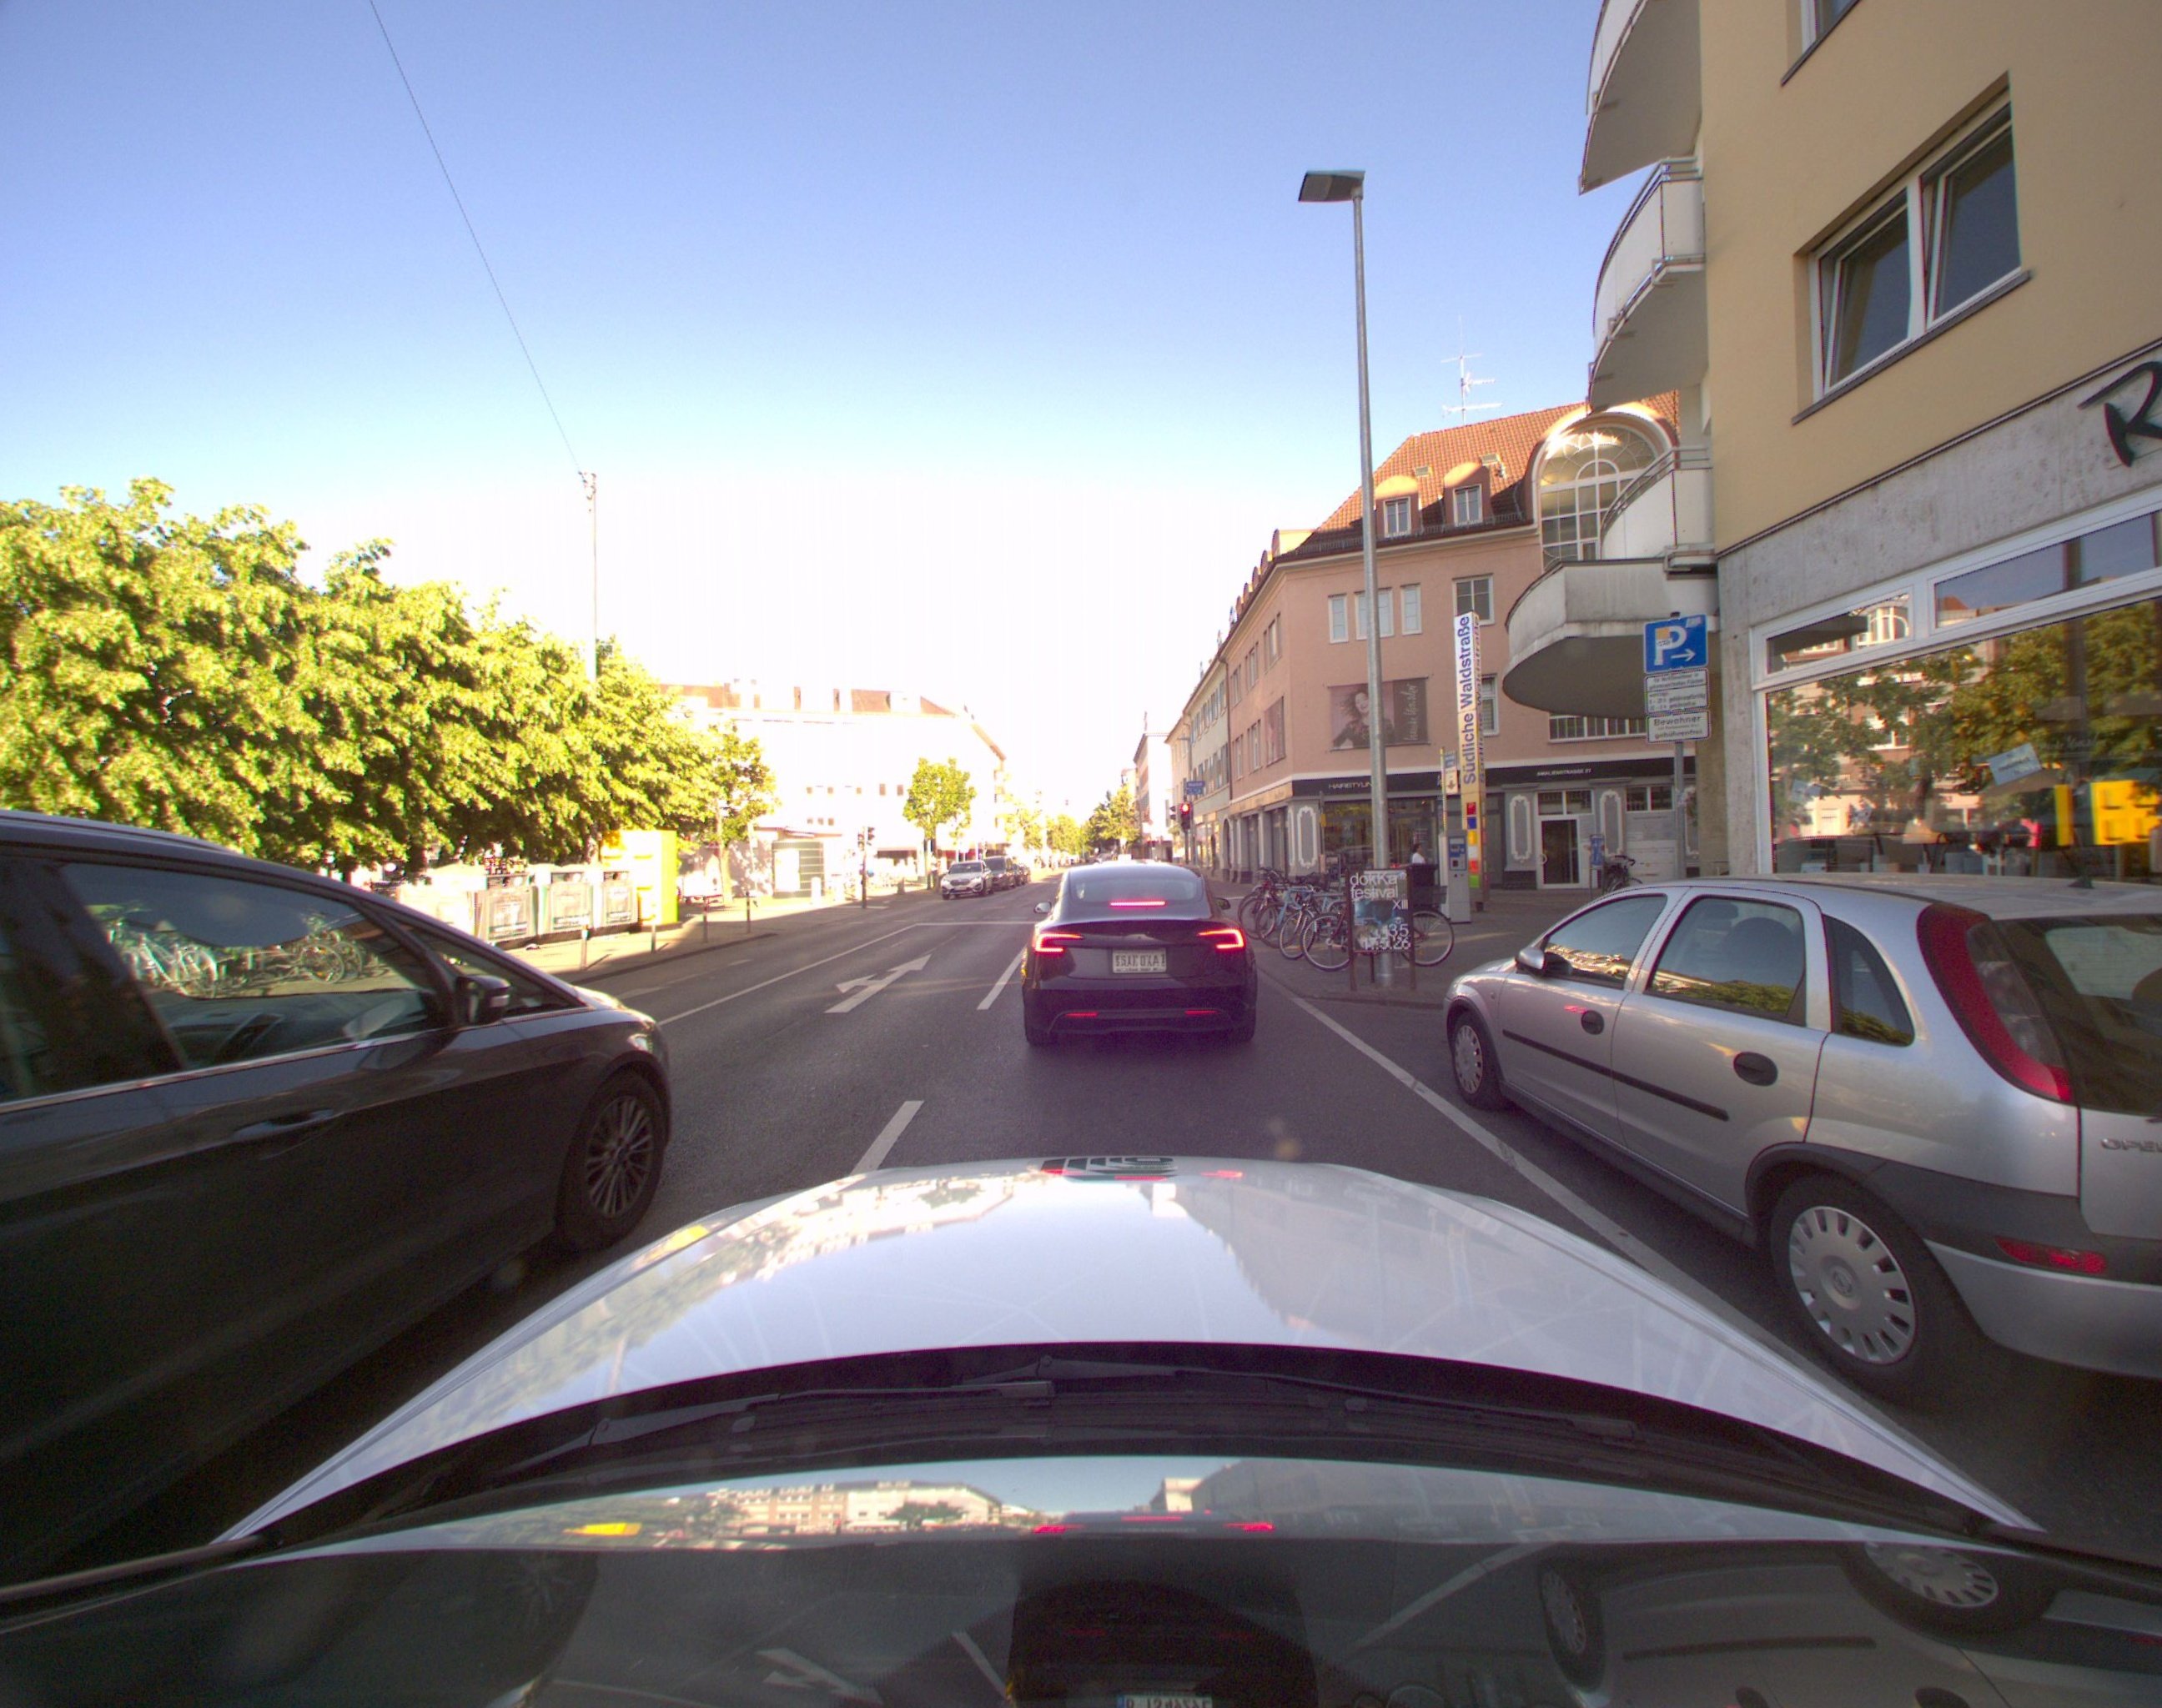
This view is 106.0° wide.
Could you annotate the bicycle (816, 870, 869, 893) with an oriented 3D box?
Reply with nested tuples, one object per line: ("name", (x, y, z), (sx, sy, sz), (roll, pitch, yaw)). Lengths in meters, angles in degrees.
("bicycle", (-12.580, 1.434, 43.019), (2.497, 1.156, 0.843), (-1, 0, 0))

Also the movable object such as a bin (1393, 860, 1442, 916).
("movable object such as a bin", (6.744, 0.669, 16.341), (0.749, 1.092, 0.628), (0, -1, 3))

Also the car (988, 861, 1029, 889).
("car", (-4.361, 1.228, 49.679), (1.988, 1.410, 4.672), (-5, 0, -1))

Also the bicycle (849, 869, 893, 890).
("bicycle", (-12.948, 1.567, 50.254), (2.528, 1.156, 0.841), (-1, 0, -4))

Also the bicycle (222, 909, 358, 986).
("bicycle", (-11.318, 1.330, 11.668), (1.561, 1.023, 0.430), (-1, 0, 3))

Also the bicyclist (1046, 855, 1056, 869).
("bicyclist", (-3.501, 0.921, 95.883), (1.123, 1.628, 0.965), (-1, 0, -1))

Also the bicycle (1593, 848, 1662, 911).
("bicycle", (11.149, 0.485, 16.681), (0.653, 1.199, 2.223), (-2, 0, 21))

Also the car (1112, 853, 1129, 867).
("car", (4.919, 0.717, 100.877), (1.986, 1.629, 4.002), (-1, 0, 2))

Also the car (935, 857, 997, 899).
("car", (-4.962, 0.988, 35.780), (1.800, 1.555, 4.312), (-5, 0, 2))

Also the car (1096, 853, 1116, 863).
("car", (5.126, 0.842, 167.672), (3.974, 2.013, 2.000), (-1, 0, 0))

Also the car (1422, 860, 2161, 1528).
("car", (2.970, 0.729, 3.522), (1.607, 1.382, 3.645), (0, 0, 2))

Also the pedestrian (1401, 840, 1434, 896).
("pedestrian", (9.565, 0.404, 23.117), (0.740, 1.552, 0.703), (-1, 0, 30))

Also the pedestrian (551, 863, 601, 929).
("pedestrian", (-15.949, 1.314, 25.730), (0.981, 2.013, 0.909), (-1, 0, 21))

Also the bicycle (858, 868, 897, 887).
("bicycle", (-13.164, 1.511, 52.689), (2.318, 1.156, 0.841), (-1, 0, -4))

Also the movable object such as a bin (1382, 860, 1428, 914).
("movable object such as a bin", (6.753, 0.674, 16.979), (0.730, 1.092, 0.628), (0, -1, 3))

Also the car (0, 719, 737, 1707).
("car", (-2.824, 0.689, 1.834), (1.987, 1.772, 4.728), (-2, 0, 1))

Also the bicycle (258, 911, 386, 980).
("bicycle", (-11.350, 1.359, 12.193), (1.517, 0.958, 0.431), (-1, 1, 3))

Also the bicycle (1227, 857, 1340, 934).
("bicycle", (3.623, 0.737, 14.712), (1.851, 1.258, 0.834), (-3, -1, 7))

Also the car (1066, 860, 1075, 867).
("car", (-2.479, 2.154, 187.369), (1.988, 1.637, 3.998), (-1, 0, -1))

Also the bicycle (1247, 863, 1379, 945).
("bicycle", (3.523, 0.751, 12.504), (1.788, 1.124, 0.783), (-3, -1, 7))

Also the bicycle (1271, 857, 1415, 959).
("bicycle", (3.542, 0.723, 11.151), (1.713, 1.268, 0.792), (-3, -1, 7))

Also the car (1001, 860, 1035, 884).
("car", (-4.391, 1.253, 57.276), (1.988, 1.436, 4.672), (-5, 0, -1))

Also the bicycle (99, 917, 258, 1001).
("bicycle", (-11.454, 1.325, 10.349), (1.590, 1.018, 0.430), (-1, 0, 3))

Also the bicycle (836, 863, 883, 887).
("bicycle", (-12.904, 1.240, 47.496), (2.472, 1.324, 0.921), (-1, 0, -4))

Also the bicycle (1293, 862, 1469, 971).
("bicycle", (3.639, 0.749, 10.016), (1.876, 1.193, 0.693), (-3, 0, 7))

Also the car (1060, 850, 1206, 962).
("car", (0.741, 0.721, 13.311), (1.987, 1.512, 4.175), (-1, 0, 0))

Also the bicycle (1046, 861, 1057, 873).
("bicycle", (-3.475, 1.537, 95.787), (1.108, 1.344, 3.998), (-1, 0, -1))

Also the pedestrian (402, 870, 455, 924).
("pedestrian", (-25.230, 1.654, 31.498), (1.388, 2.014, 0.908), (-1, 0, 14))

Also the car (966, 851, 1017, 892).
("car", (-4.637, 0.862, 42.859), (1.827, 1.845, 4.677), (-5, 0, 2))

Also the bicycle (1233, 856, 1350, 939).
("bicycle", (3.507, 0.708, 13.684), (1.738, 1.267, 0.782), (-3, -1, 4))

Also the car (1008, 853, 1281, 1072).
("car", (0.499, 0.760, 7.604), (1.841, 1.455, 4.001), (-1, 0, 2))

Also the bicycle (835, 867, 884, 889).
("bicycle", (-12.374, 1.361, 45.549), (2.453, 1.156, 0.843), (-1, 0, 0))
